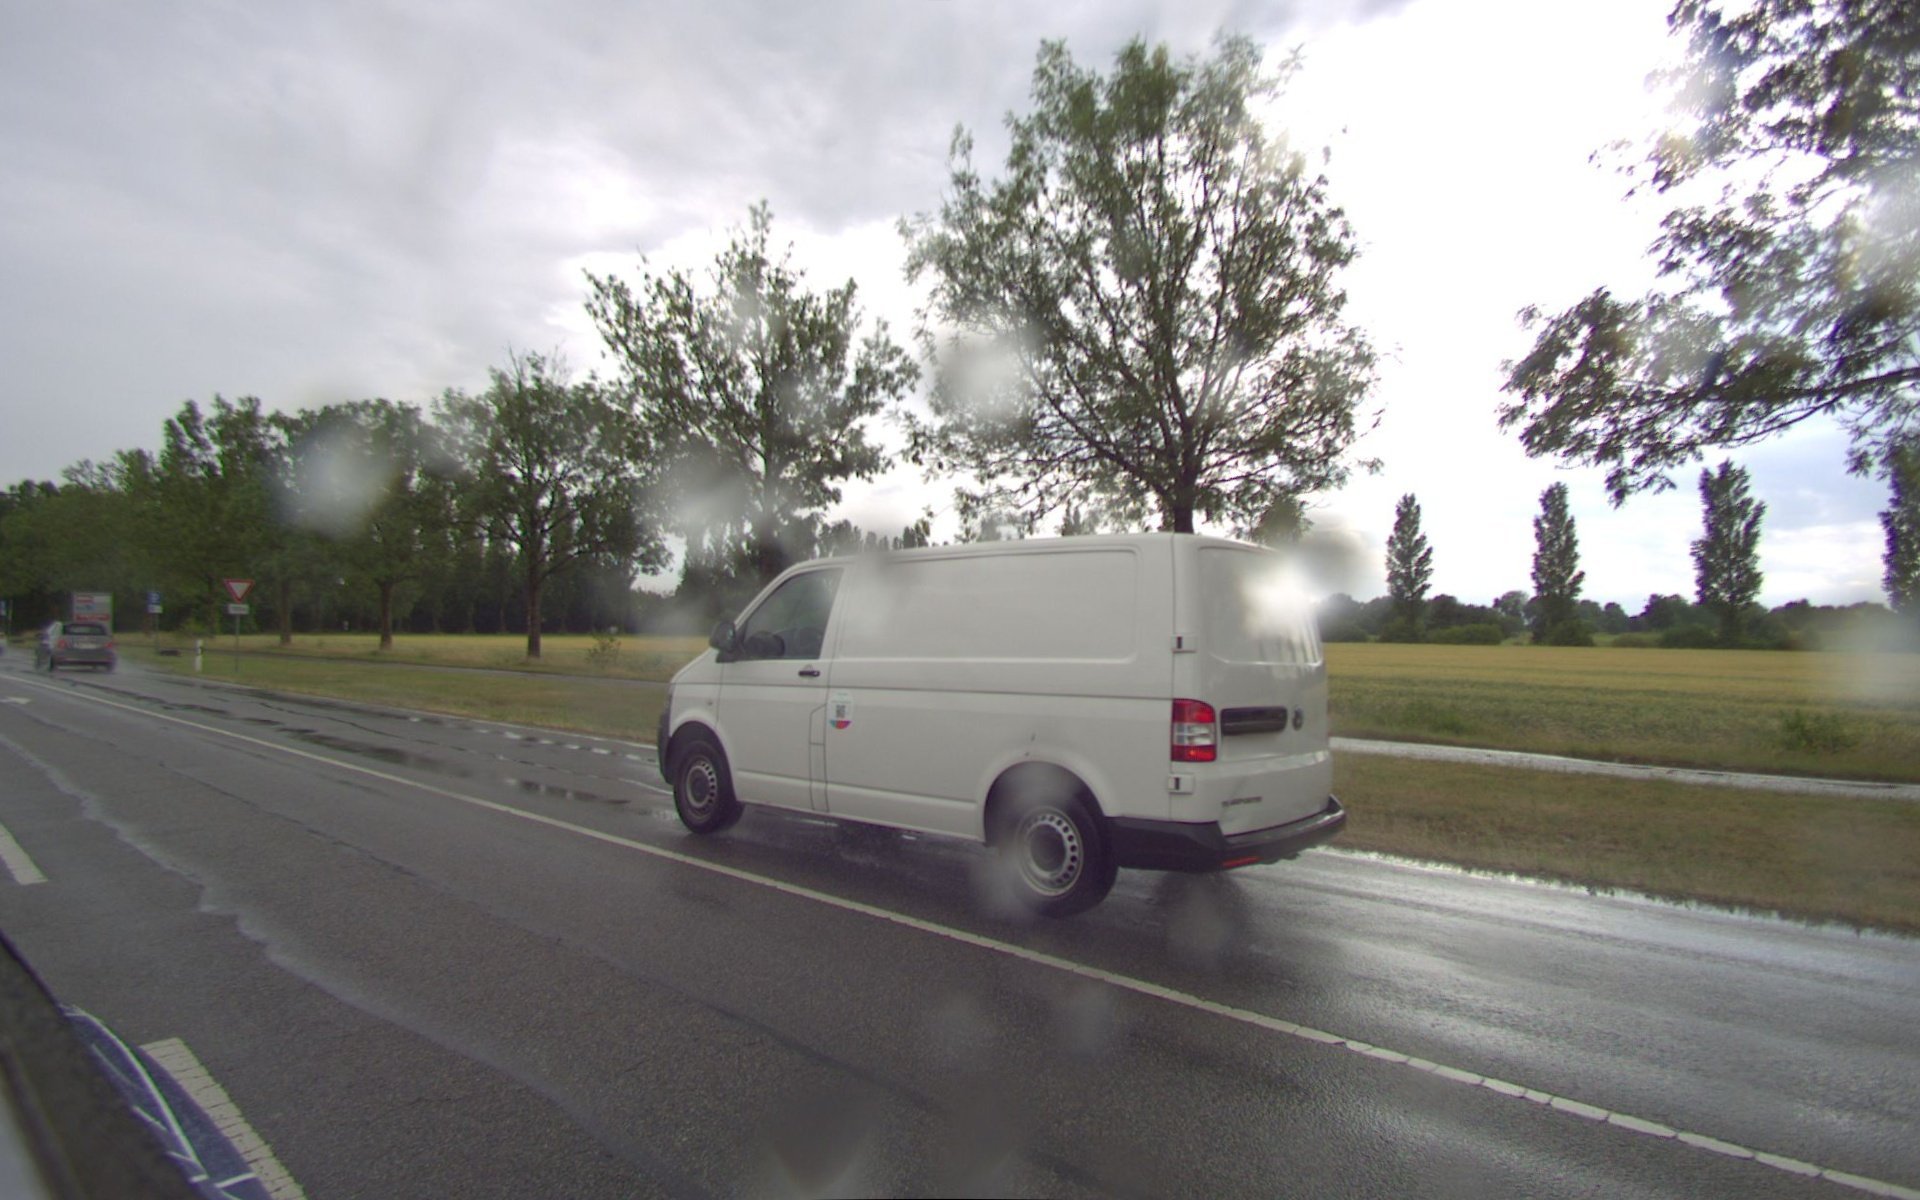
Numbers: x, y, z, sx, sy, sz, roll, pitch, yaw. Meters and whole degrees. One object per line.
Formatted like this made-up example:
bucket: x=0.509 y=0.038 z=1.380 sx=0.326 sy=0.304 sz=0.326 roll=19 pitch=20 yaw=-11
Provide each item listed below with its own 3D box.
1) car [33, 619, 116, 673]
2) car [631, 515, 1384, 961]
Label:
car: x=-27.207 y=1.399 z=31.082 sx=3.300 sy=1.541 sz=1.484 roll=-1 pitch=-4 yaw=42
car: x=0.019 y=0.650 z=6.550 sx=4.682 sy=1.876 sz=1.896 roll=-1 pitch=-4 yaw=41
